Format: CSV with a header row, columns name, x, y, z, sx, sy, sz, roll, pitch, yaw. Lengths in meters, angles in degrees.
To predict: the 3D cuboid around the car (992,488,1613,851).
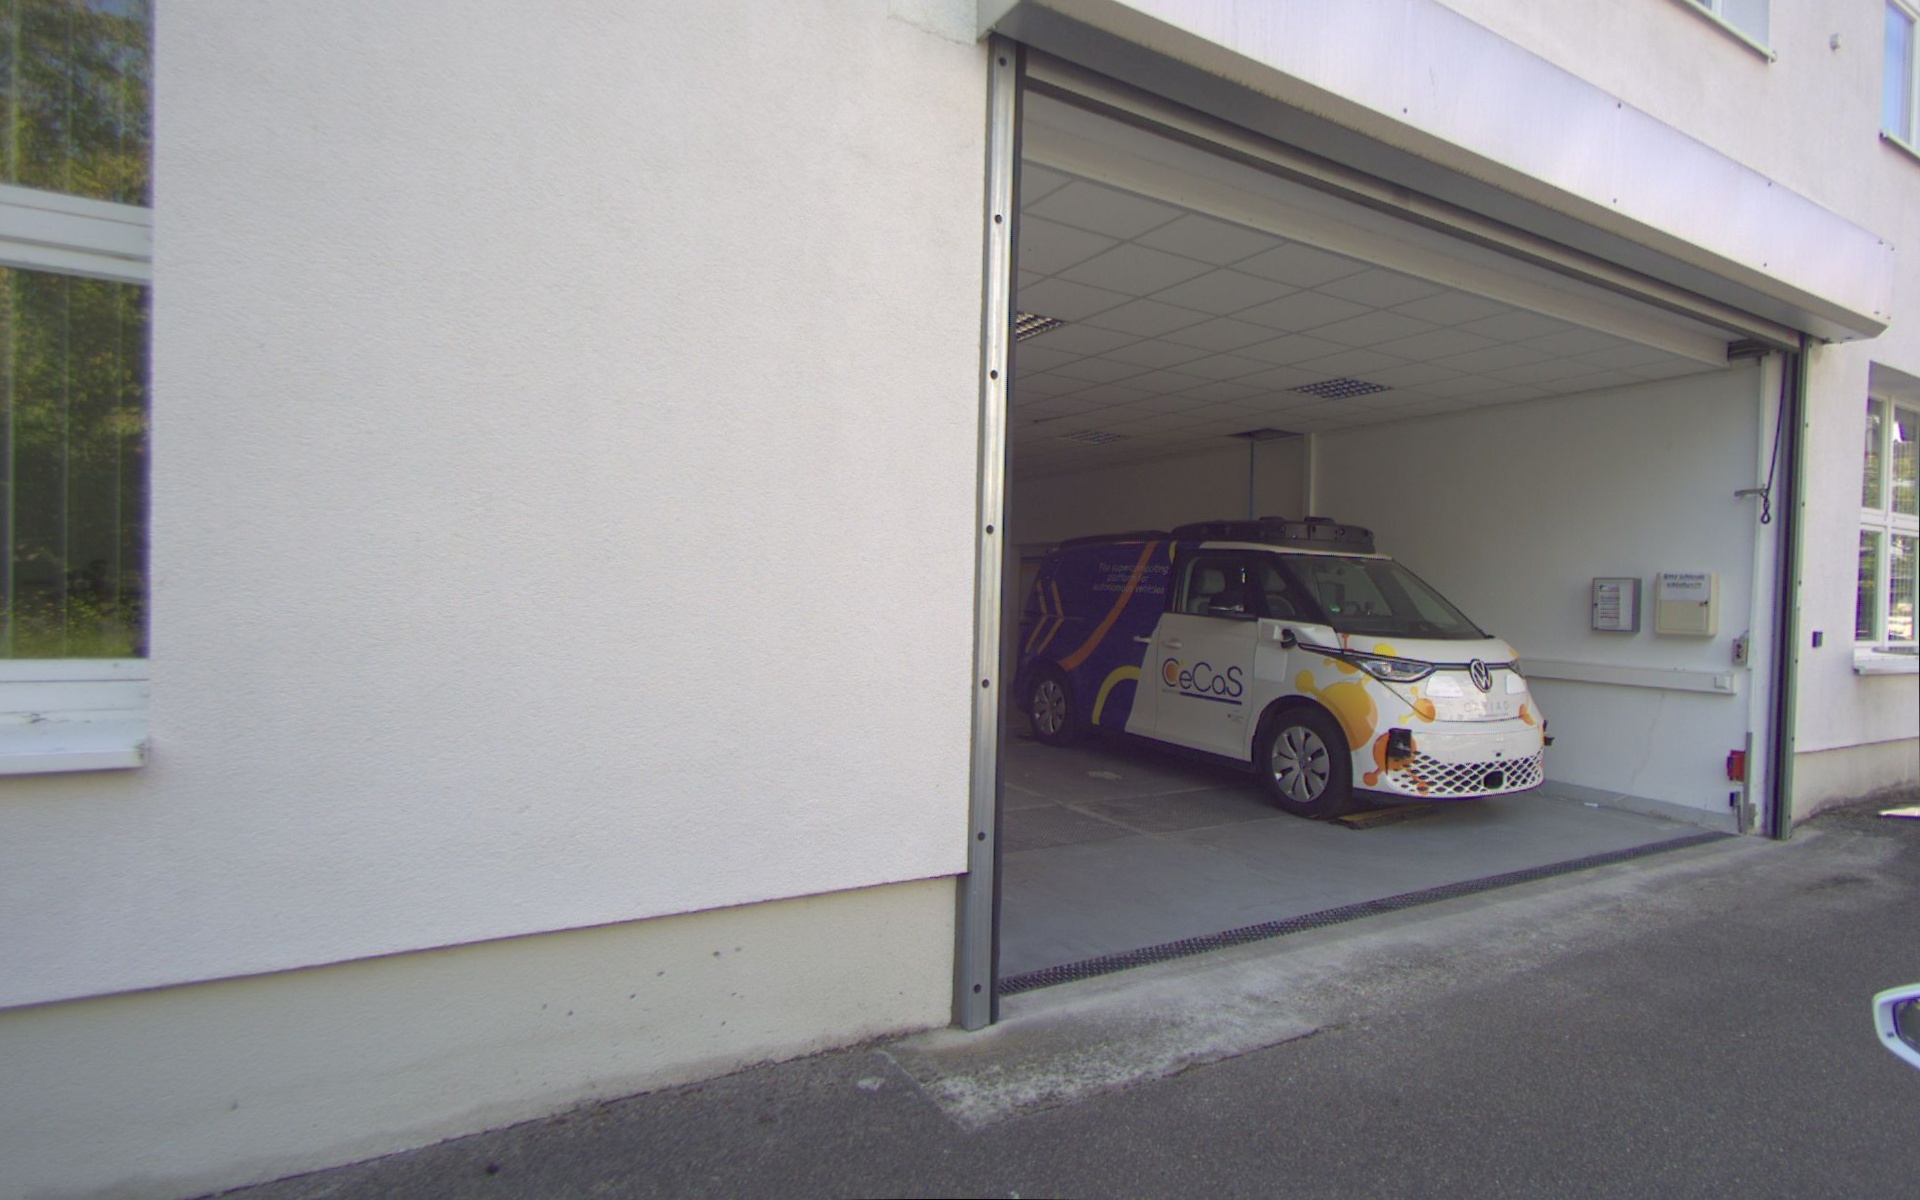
name,x,y,z,sx,sy,sz,roll,pitch,yaw
car,2.397,0.356,8.438,2.031,2.121,4.724,2,1,-30
